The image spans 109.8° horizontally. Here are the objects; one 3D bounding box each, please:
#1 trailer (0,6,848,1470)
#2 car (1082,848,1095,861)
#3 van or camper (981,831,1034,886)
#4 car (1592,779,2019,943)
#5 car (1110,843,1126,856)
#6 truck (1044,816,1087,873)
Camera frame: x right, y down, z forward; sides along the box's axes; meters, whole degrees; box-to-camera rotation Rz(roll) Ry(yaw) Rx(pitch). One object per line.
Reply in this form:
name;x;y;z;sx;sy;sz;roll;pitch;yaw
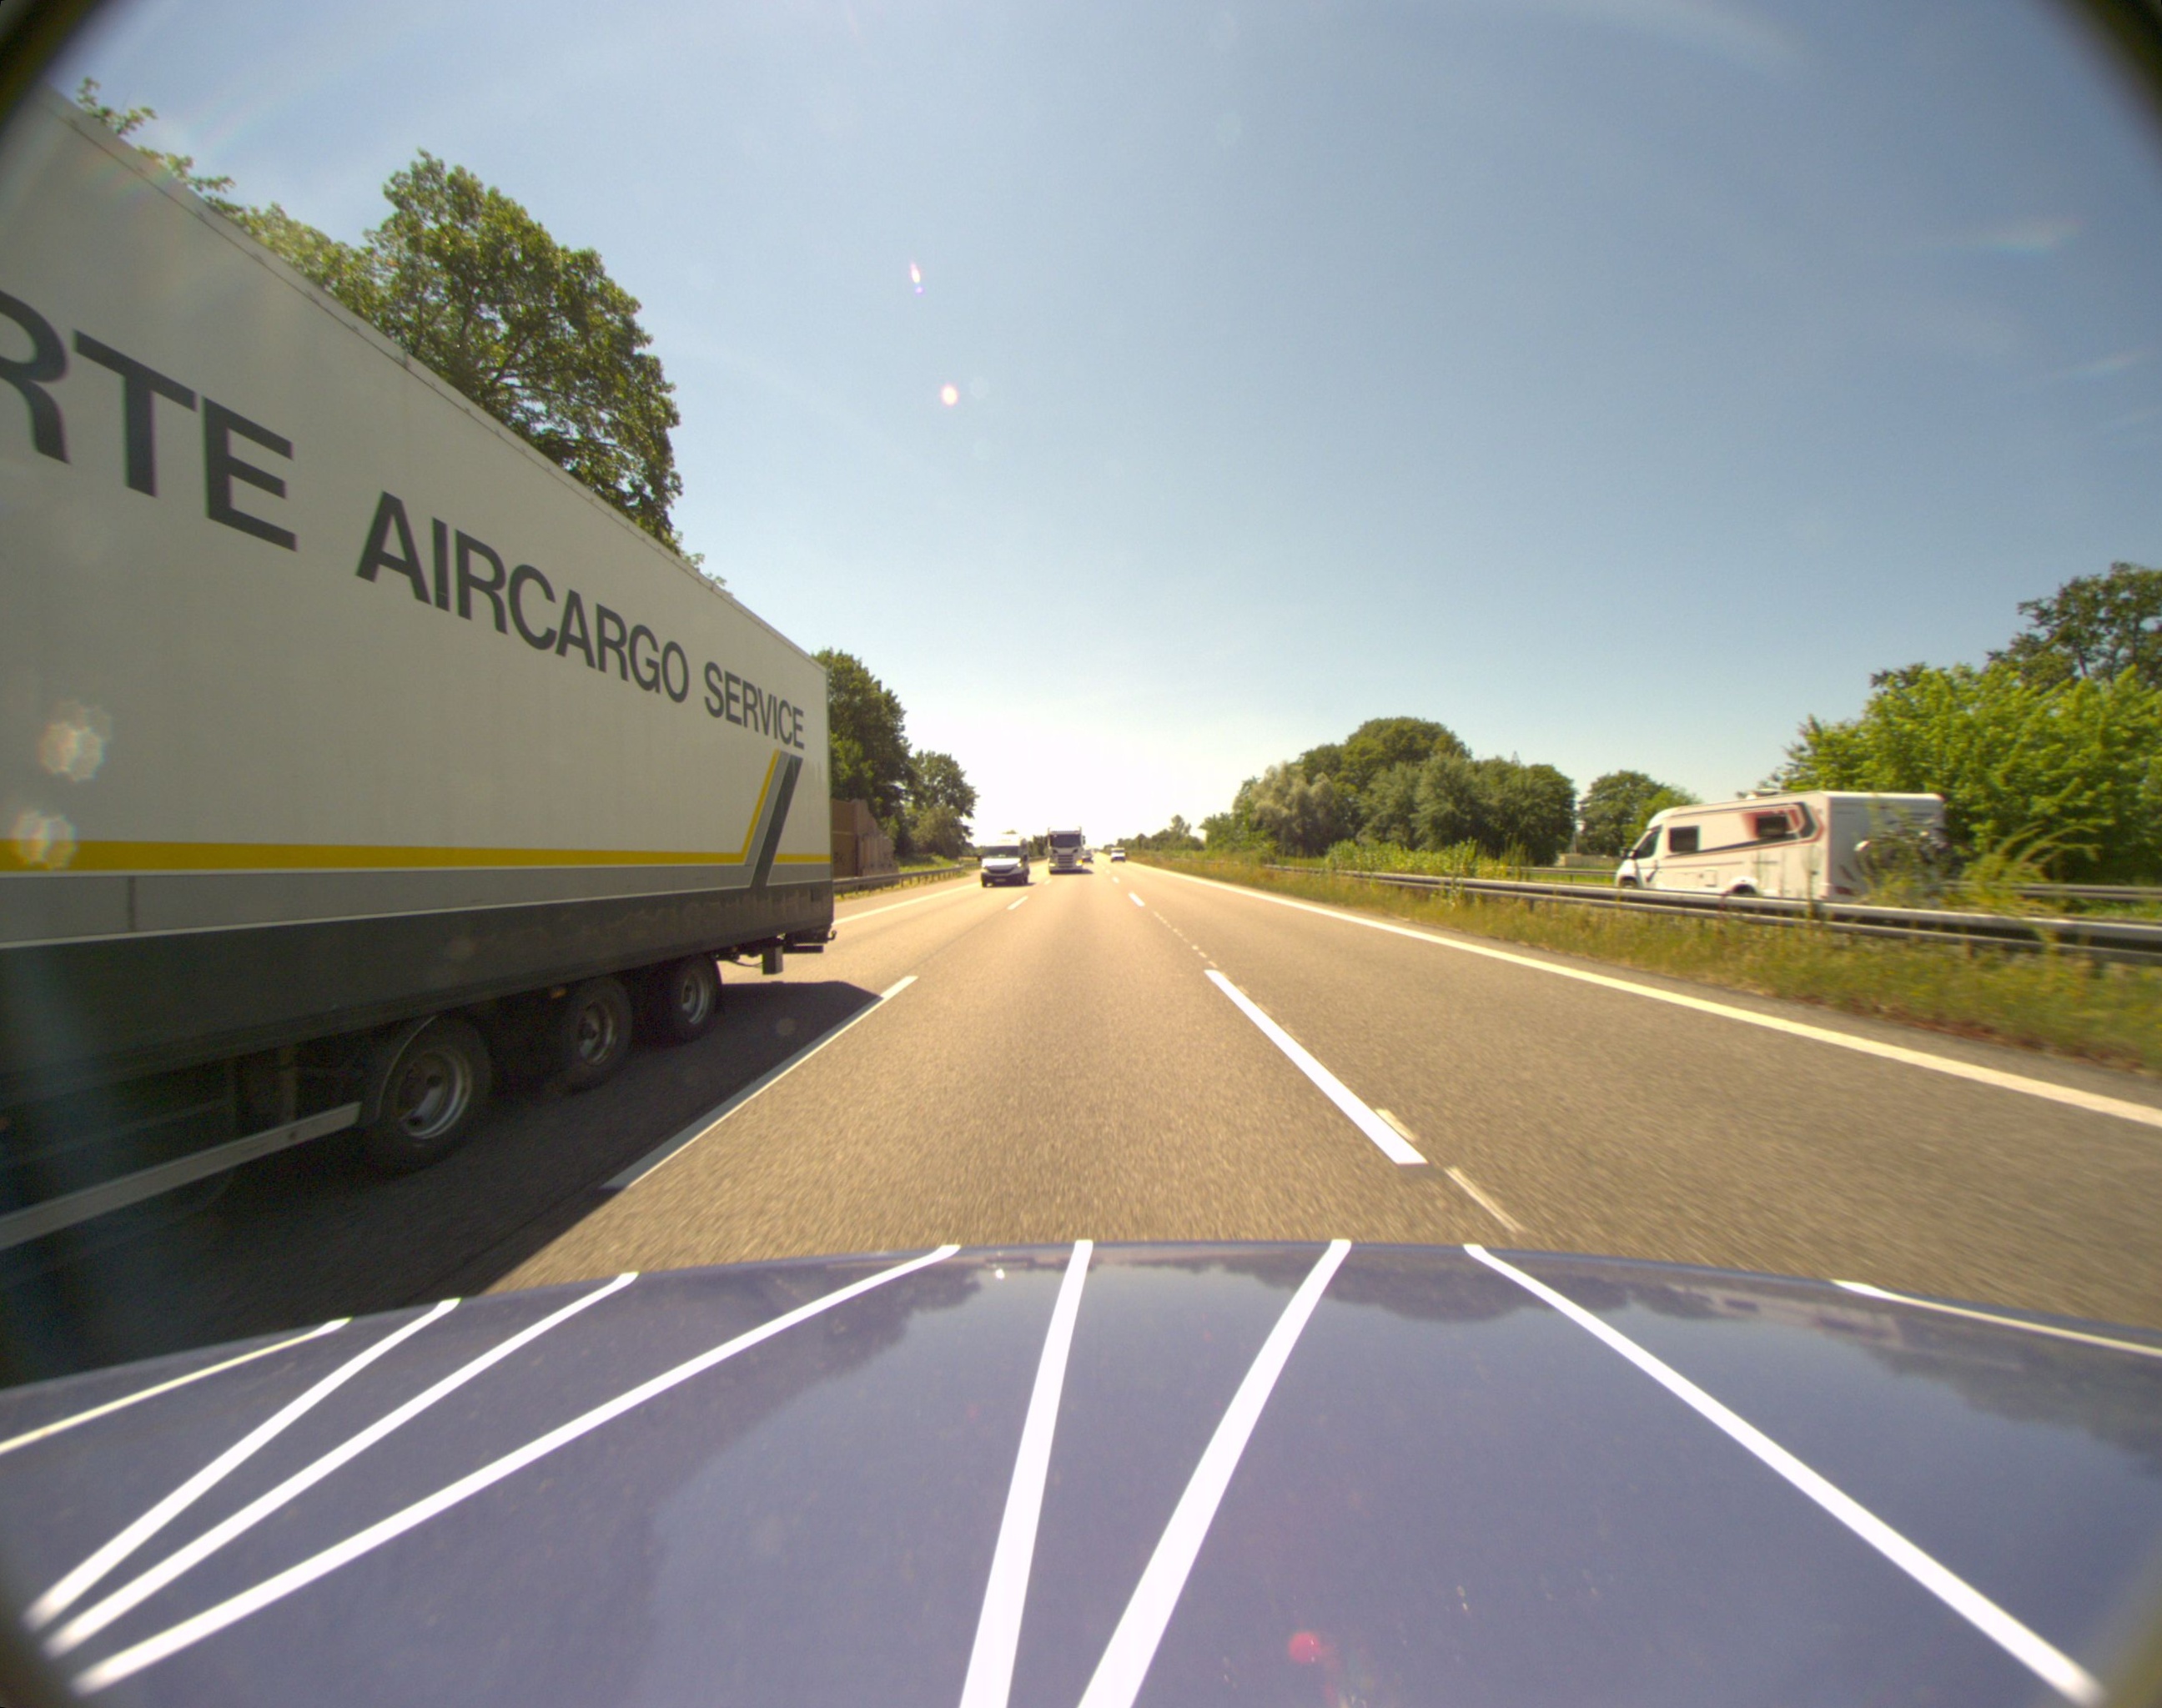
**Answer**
trailer;-4.628;-0.341;3.082;3.001;4.264;13.416;-2;0;0
car;1.009;0.033;101.817;1.796;1.696;4.000;-1;0;1
van or camper;-3.745;0.190;39.696;2.027;2.622;6.486;-2;1;0
car;15.838;0.107;17.828;2.553;2.964;8.085;-1;0;2
car;5.206;-0.614;107.425;2.147;1.810;5.267;-1;1;1
truck;-1.070;-0.742;58.029;2.896;4.007;6.869;-2;1;1
